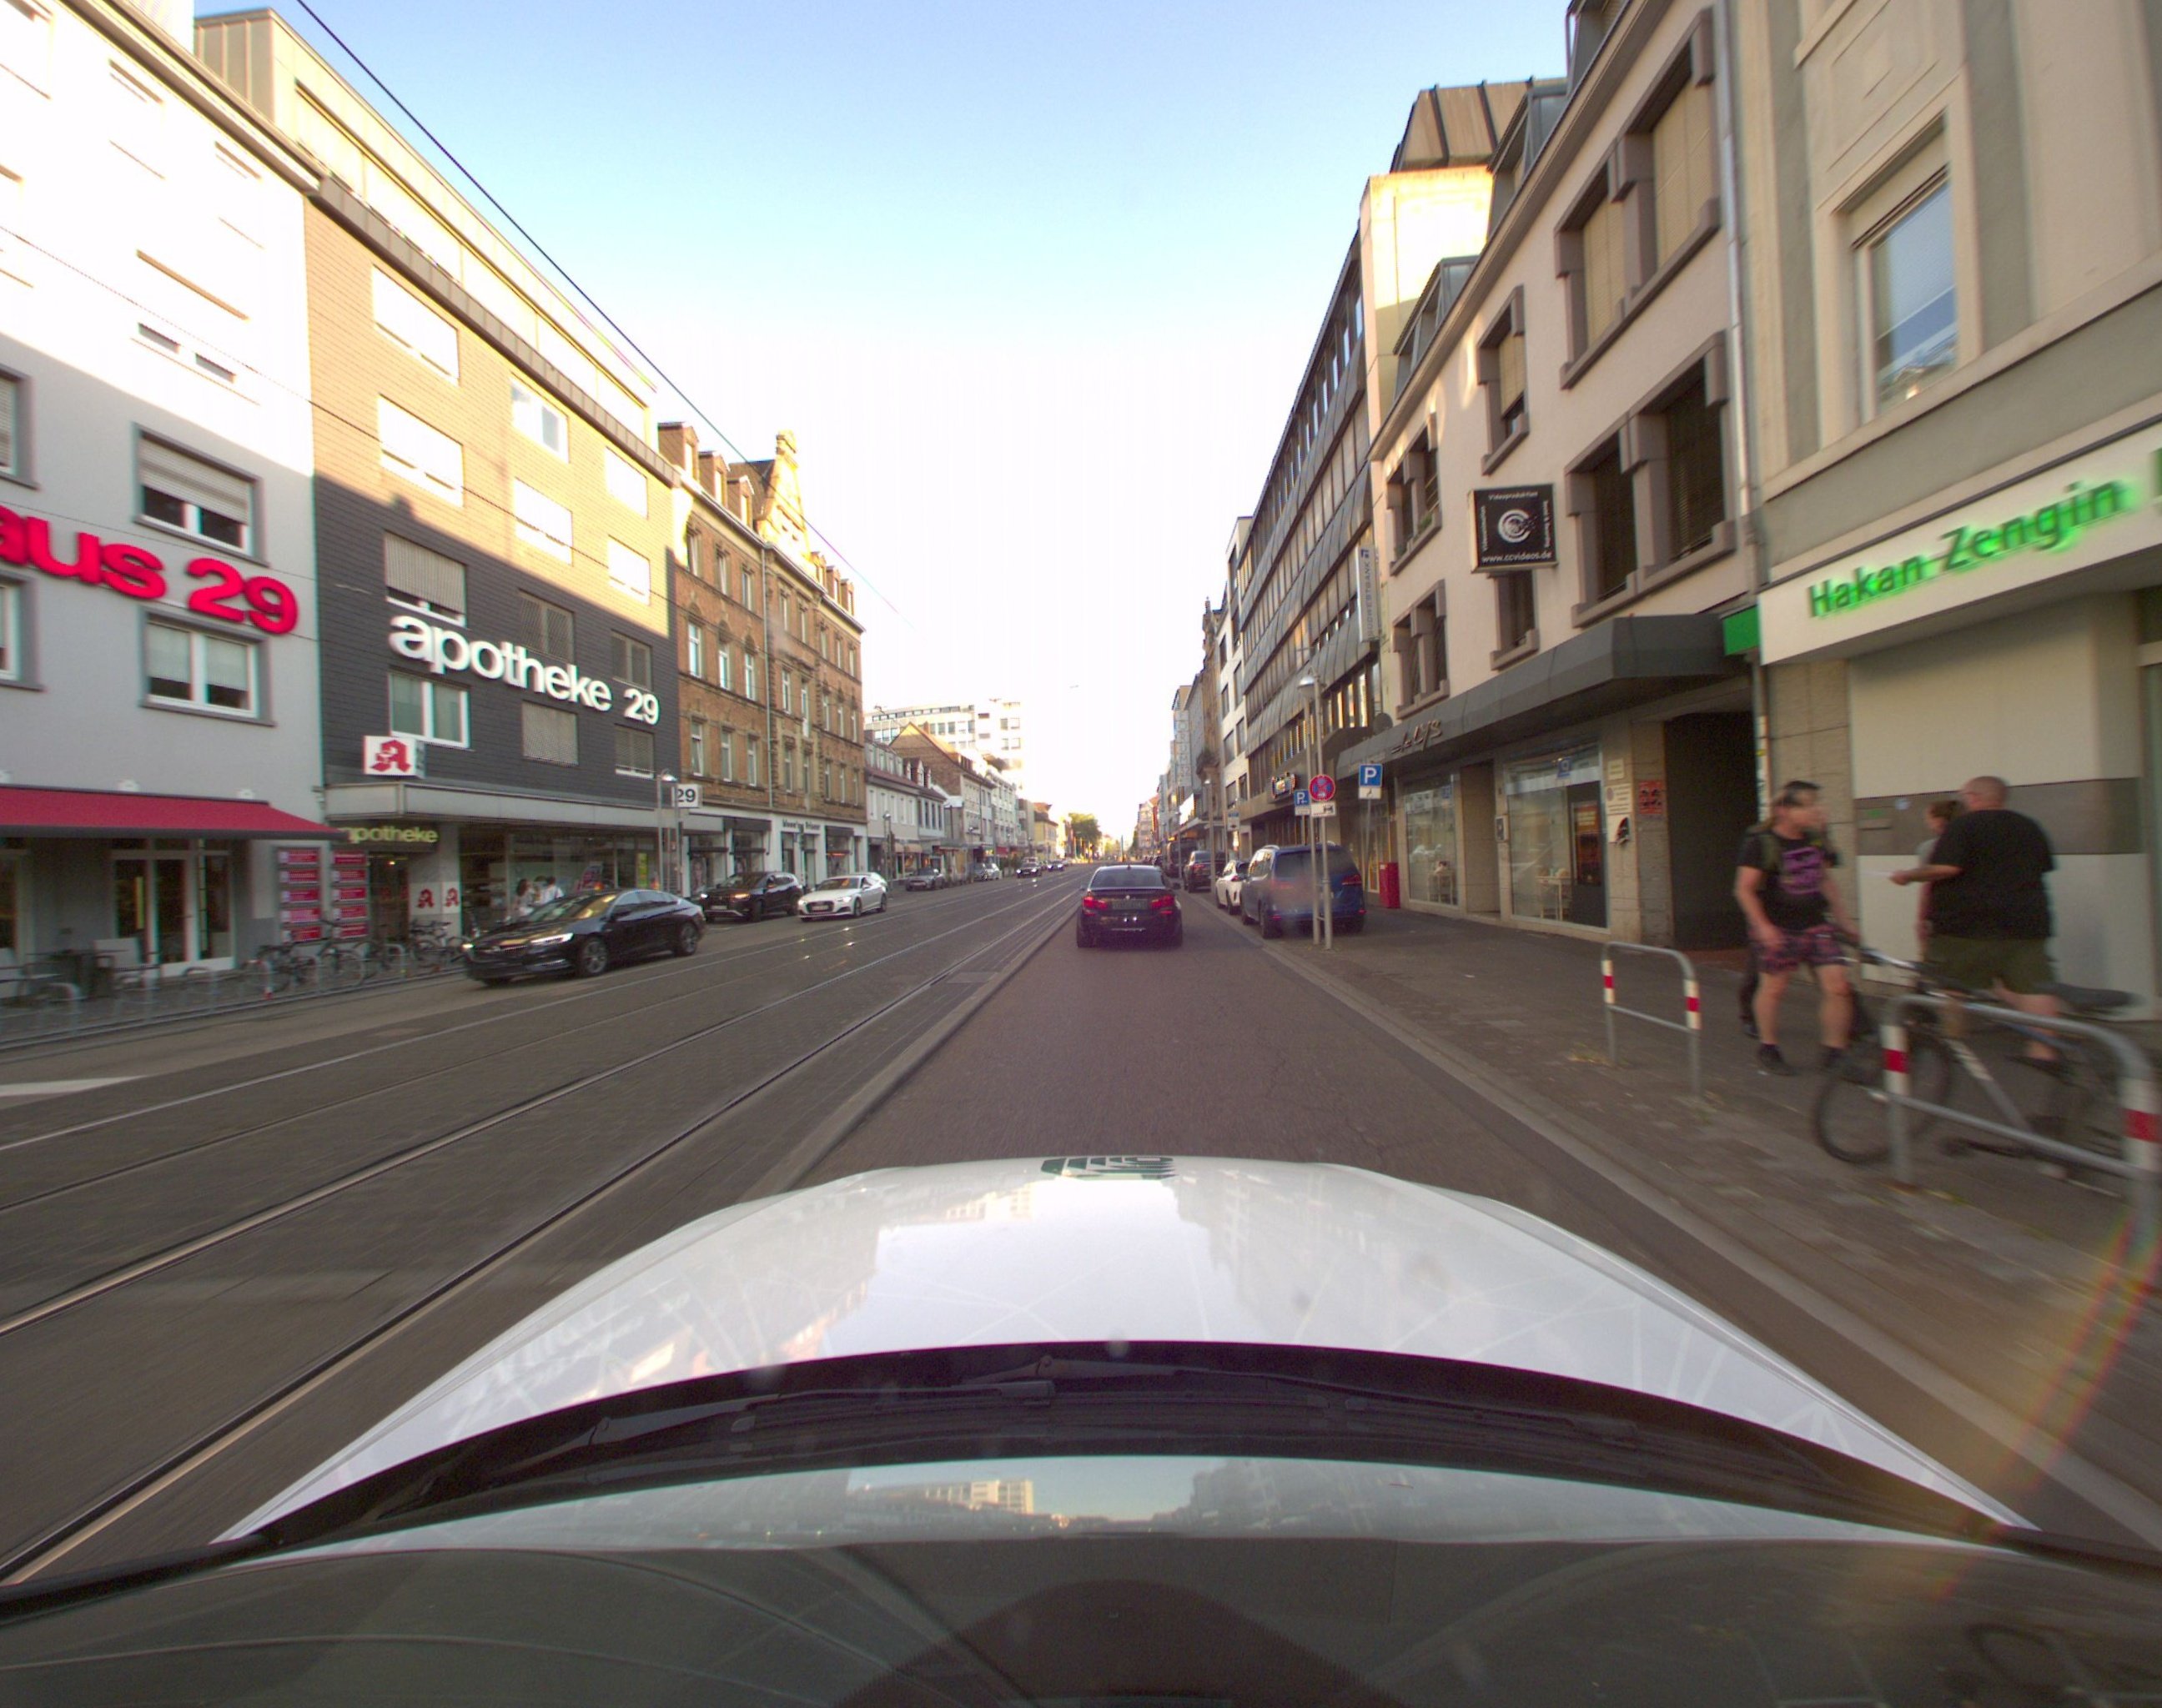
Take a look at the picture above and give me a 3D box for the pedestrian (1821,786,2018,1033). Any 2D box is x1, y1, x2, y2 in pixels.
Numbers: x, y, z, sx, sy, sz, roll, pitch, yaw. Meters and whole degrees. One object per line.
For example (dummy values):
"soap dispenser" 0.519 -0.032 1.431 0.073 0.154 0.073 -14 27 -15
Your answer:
"pedestrian" 6.277 0.396 6.140 0.646 1.718 0.679 -5 -1 4

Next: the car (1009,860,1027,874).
"car" -7.669 1.552 98.896 1.860 1.685 3.998 -2 -1 -1

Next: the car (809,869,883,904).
"car" -11.285 1.533 39.427 1.860 1.453 4.616 -2 0 5

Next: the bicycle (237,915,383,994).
"bicycle" -12.506 1.614 13.230 1.883 1.211 0.553 0 -1 3

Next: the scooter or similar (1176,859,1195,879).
"scooter or similar" 6.470 0.919 50.187 0.493 1.220 1.273 -3 -1 40

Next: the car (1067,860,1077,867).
"car" -1.924 2.000 179.016 1.920 1.435 4.250 -1 0 4

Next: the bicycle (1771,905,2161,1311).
"bicycle" 3.601 0.830 3.174 0.531 1.147 1.491 -3 -1 2

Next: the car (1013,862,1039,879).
"car" -5.184 1.560 76.971 1.986 1.453 4.649 -2 0 1

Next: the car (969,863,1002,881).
"car" -8.433 1.547 72.369 1.984 1.453 4.828 -2 0 5

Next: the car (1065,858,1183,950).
"car" 0.910 0.888 15.822 1.944 1.498 4.470 -1 -1 5

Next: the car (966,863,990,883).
"car" -8.522 1.544 67.690 1.471 1.577 2.797 -3 0 3

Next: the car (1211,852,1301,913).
"car" 4.753 0.714 22.596 1.788 1.433 3.891 -4 0 4

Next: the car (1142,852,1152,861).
"car" 11.821 0.507 146.397 1.767 1.549 3.506 -2 -1 3

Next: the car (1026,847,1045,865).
"car" -5.844 0.279 104.637 1.987 2.156 4.910 -2 0 0

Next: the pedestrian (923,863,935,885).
"pedestrian" -11.427 1.494 61.208 0.659 1.644 0.695 -2 -1 4

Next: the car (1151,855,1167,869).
"car" 8.731 0.865 91.616 1.553 1.442 3.712 -5 0 3

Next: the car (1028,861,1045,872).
"car" -6.190 1.691 113.482 1.920 1.435 4.250 -1 0 4

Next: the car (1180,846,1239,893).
"car" 5.371 0.609 34.613 1.985 1.727 4.569 -4 -1 4

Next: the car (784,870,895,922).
"car" -7.966 1.342 27.347 1.985 1.453 4.661 -3 0 4

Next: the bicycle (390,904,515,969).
"bicycle" -12.437 1.622 16.132 2.103 1.224 0.553 0 0 3

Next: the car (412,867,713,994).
"car" -8.872 1.191 14.601 1.984 1.727 4.733 -4 -1 4

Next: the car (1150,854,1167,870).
"car" 8.217 0.860 86.570 1.648 1.537 3.889 -3 0 3

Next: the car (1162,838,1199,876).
"car" 7.034 0.188 57.958 2.084 2.455 6.037 -3 0 3

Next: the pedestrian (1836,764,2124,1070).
"pedestrian" 5.855 0.385 5.382 0.763 1.806 0.929 -4 -1 5

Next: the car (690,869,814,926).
"car" -11.100 1.408 27.895 1.921 1.674 4.653 -1 0 6

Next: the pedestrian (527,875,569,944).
"pedestrian" -13.637 1.402 20.836 0.618 1.699 0.603 -2 0 3

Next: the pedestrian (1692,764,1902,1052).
"pedestrian" 5.202 0.370 5.987 0.658 1.928 0.879 -3 -1 2

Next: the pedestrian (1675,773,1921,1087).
"pedestrian" 4.577 0.453 5.273 0.734 1.828 0.851 -3 -1 2

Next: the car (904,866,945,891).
"car" -9.861 1.527 51.651 1.591 1.440 3.817 -1 0 4

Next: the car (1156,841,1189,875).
"car" 7.137 0.317 64.268 2.025 2.455 5.412 -4 0 2

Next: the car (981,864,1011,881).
"car" -8.025 1.726 77.318 1.984 1.453 4.335 -2 0 4

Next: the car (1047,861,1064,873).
"car" -3.232 1.659 104.118 1.683 1.453 4.471 -2 0 5

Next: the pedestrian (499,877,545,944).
"pedestrian" -14.351 1.431 20.921 0.679 1.661 0.625 -2 0 3

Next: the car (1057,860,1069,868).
"car" -3.502 1.870 155.757 1.920 1.435 4.250 -1 0 4

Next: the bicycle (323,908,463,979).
"bicycle" -12.428 1.609 14.728 2.103 1.224 0.553 0 -1 3

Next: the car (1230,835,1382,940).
"car" 4.385 0.603 16.666 1.985 1.727 4.581 -4 -1 4

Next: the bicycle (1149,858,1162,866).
"bicycle" 10.547 1.196 115.655 1.853 1.080 0.469 -2 -2 4

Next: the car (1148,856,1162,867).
"car" 11.368 1.210 124.890 1.895 1.549 4.003 -2 -1 3
